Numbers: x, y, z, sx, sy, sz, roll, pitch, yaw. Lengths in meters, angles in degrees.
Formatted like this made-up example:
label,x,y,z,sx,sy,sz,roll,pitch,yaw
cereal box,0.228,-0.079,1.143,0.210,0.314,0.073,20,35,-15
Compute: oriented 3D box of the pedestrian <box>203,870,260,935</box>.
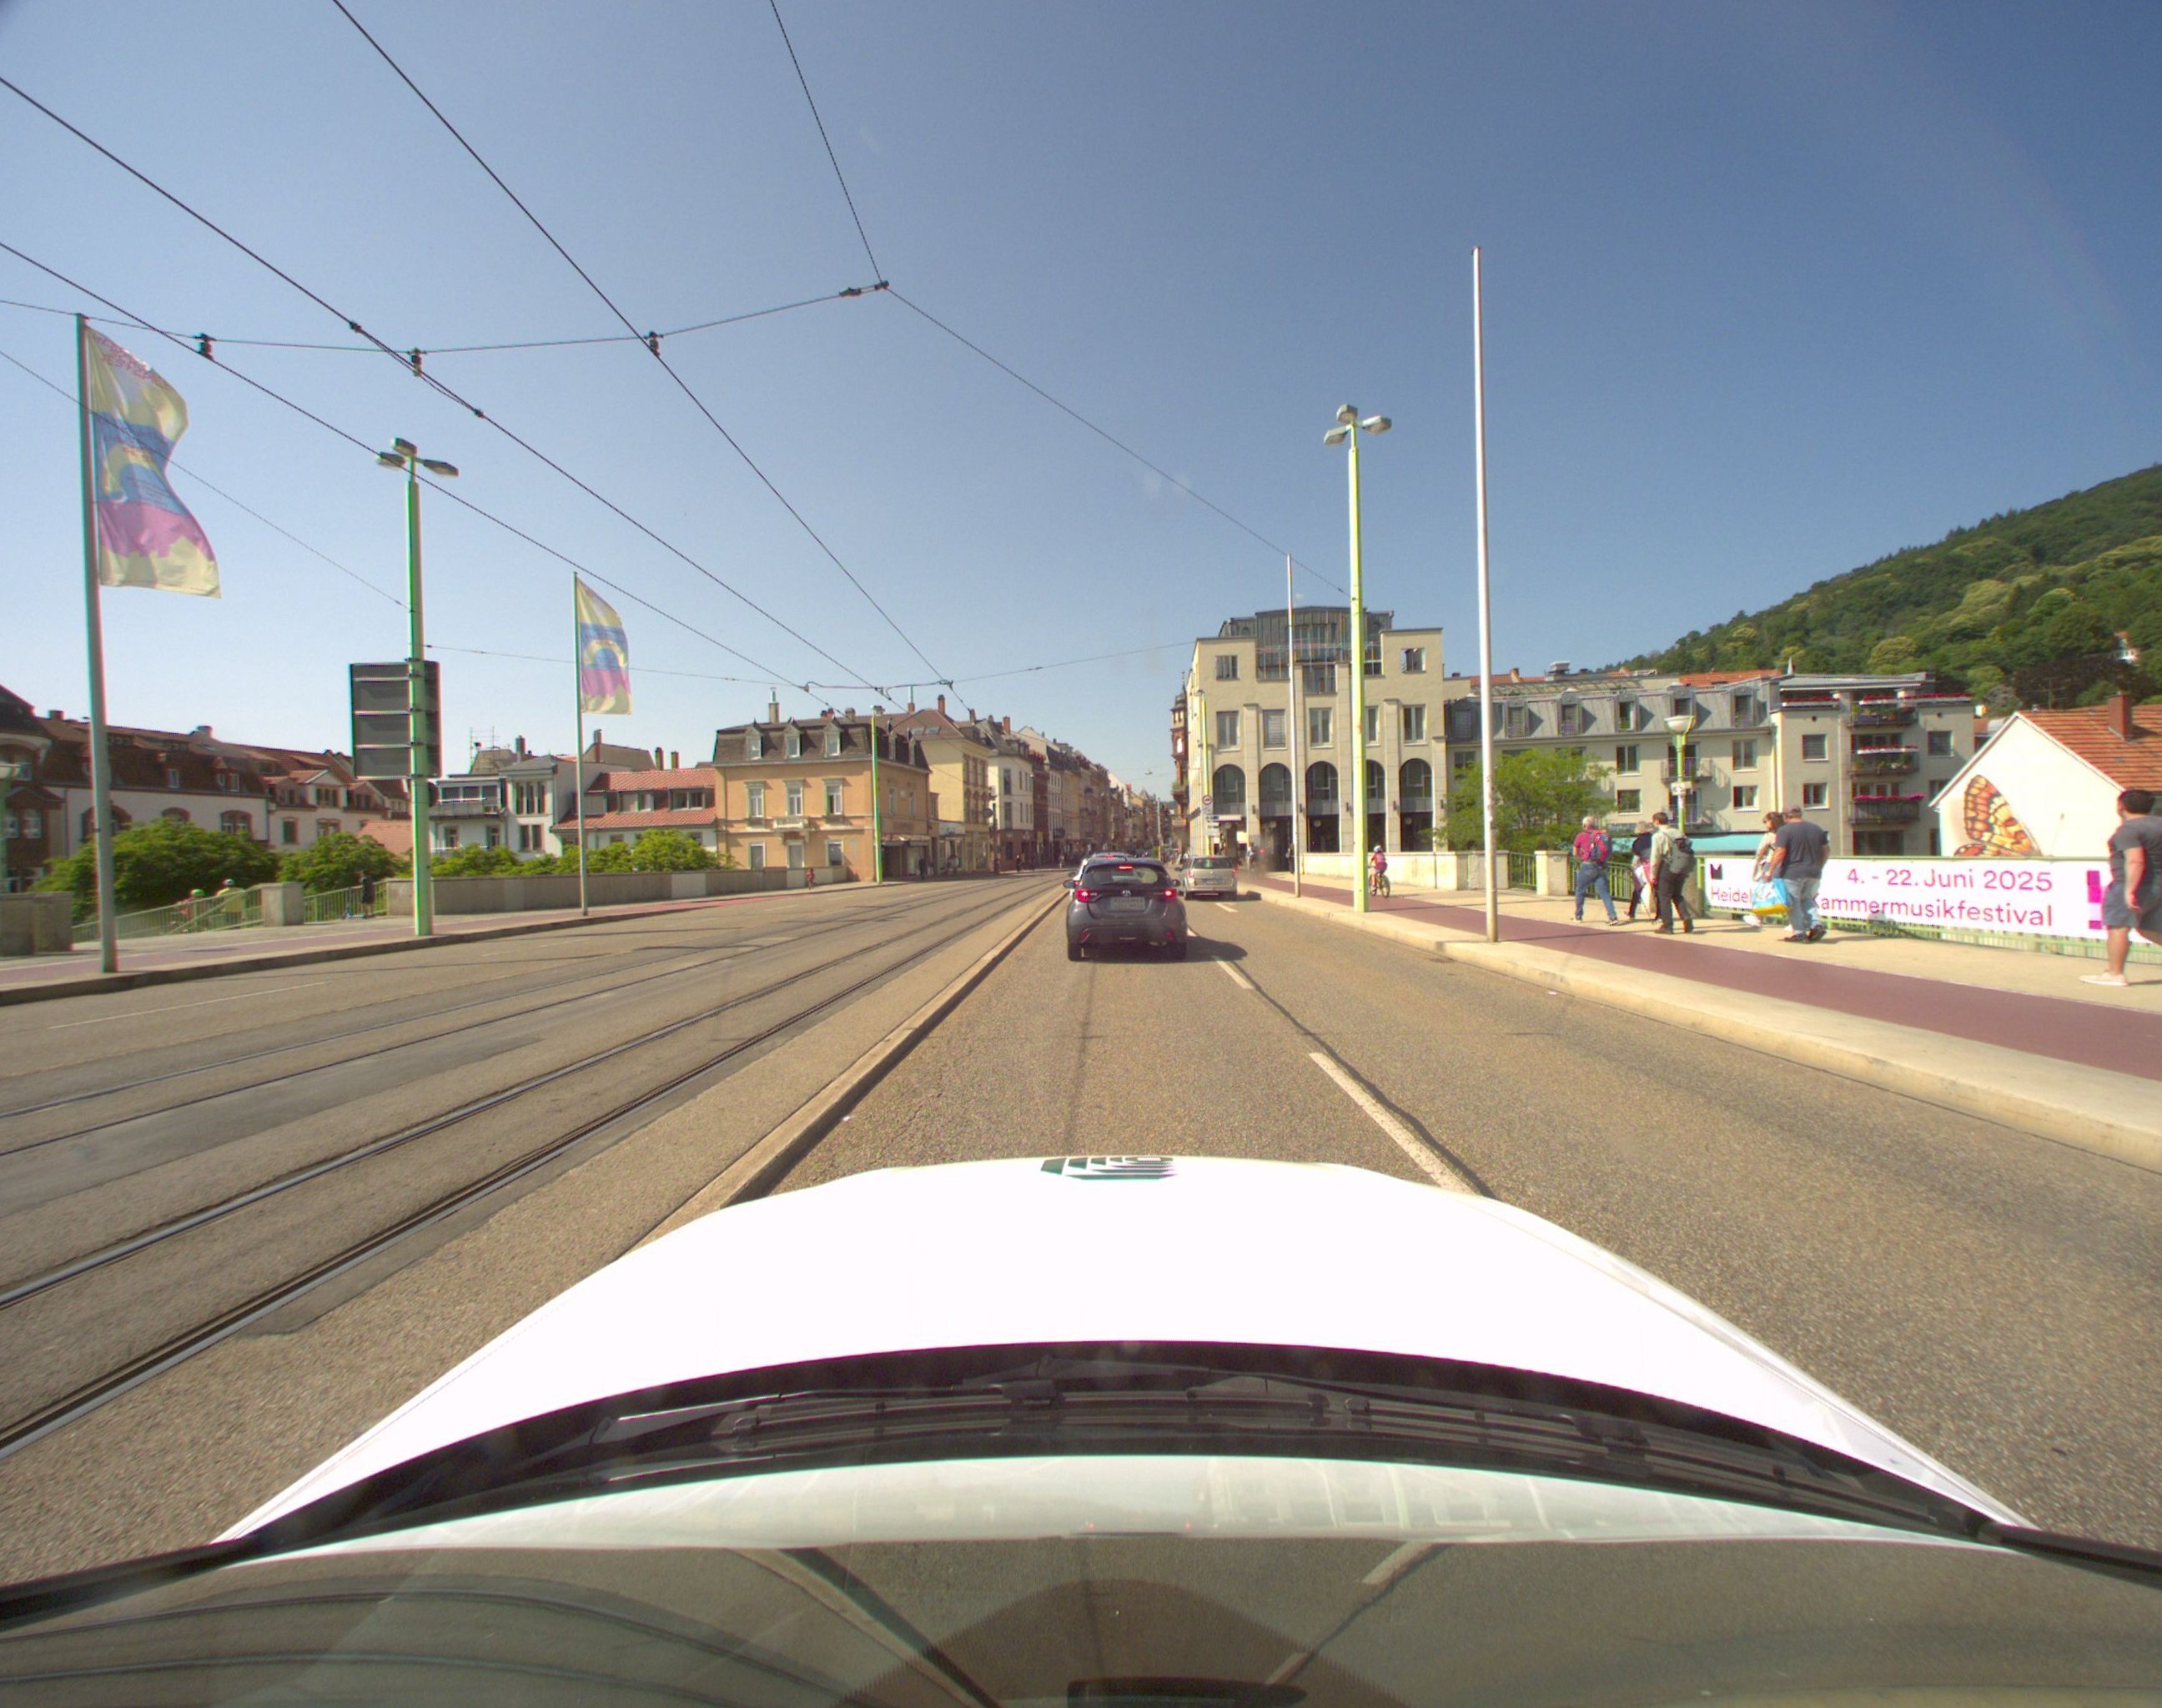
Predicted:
label,x,y,z,sx,sy,sz,roll,pitch,yaw
pedestrian,-24.218,1.382,23.233,0.741,1.781,0.803,-2,0,7

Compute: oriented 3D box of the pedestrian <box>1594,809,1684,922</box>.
label,x,y,z,sx,sy,sz,roll,pitch,yaw
pedestrian,9.341,0.187,13.671,0.736,1.777,1.016,-3,0,1

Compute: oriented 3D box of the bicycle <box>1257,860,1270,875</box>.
label,x,y,z,sx,sy,sz,roll,pitch,yaw
bicycle,9.439,0.706,42.136,0.415,0.765,0.962,-3,0,2

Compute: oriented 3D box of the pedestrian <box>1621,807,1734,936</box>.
label,x,y,z,sx,sy,sz,roll,pitch,yaw
pedestrian,8.477,0.243,11.624,0.752,1.718,1.073,-3,0,1

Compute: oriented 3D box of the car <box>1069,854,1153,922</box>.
label,x,y,z,sx,sy,sz,roll,pitch,yaw
car,0.731,0.764,20.340,1.890,1.530,4.001,0,0,2

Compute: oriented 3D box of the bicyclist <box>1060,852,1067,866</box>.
label,x,y,z,sx,sy,sz,roll,pitch,yaw
bicyclist,-1.954,0.558,92.513,0.623,1.650,0.623,0,1,11

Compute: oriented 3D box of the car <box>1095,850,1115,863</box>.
label,x,y,z,sx,sy,sz,roll,pitch,yaw
car,3.208,0.355,109.289,1.981,1.586,4.665,-2,0,10

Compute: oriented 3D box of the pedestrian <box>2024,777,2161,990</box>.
label,x,y,z,sx,sy,sz,roll,pitch,yaw
pedestrian,9.070,0.220,6.972,0.736,1.718,1.016,-3,0,1

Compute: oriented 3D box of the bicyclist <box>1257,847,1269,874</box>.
label,x,y,z,sx,sy,sz,roll,pitch,yaw
bicyclist,9.418,0.325,42.142,0.420,1.383,0.444,-3,0,2

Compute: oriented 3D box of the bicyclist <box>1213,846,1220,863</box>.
label,x,y,z,sx,sy,sz,roll,pitch,yaw
bicyclist,10.366,0.019,62.324,0.420,1.256,0.444,-3,0,5

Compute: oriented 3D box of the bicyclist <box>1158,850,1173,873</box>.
label,x,y,z,sx,sy,sz,roll,pitch,yaw
bicyclist,9.339,0.816,89.761,1.230,2.529,1.099,3,0,-15

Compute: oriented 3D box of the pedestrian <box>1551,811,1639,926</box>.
label,x,y,z,sx,sy,sz,roll,pitch,yaw
pedestrian,8.510,0.225,13.533,0.736,1.802,1.016,-3,0,1

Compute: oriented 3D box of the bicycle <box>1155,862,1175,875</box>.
label,x,y,z,sx,sy,sz,roll,pitch,yaw
bicycle,9.282,1.581,89.799,1.114,1.420,2.991,2,0,-16

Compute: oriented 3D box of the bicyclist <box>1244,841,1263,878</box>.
label,x,y,z,sx,sy,sz,roll,pitch,yaw
bicyclist,8.165,0.241,38.556,0.699,1.695,0.925,-2,0,2

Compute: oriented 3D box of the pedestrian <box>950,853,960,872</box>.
label,x,y,z,sx,sy,sz,roll,pitch,yaw
pedestrian,-10.956,0.765,70.727,0.646,1.602,0.566,3,2,2

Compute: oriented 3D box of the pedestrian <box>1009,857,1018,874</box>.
label,x,y,z,sx,sy,sz,roll,pitch,yaw
pedestrian,-7.138,1.165,85.997,0.733,1.766,0.788,-1,1,2

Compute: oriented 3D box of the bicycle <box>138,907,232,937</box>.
label,x,y,z,sx,sy,sz,roll,pitch,yaw
bicycle,-24.224,1.834,22.027,1.919,0.716,0.623,0,1,3

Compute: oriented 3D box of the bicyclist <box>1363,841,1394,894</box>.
label,x,y,z,sx,sy,sz,roll,pitch,yaw
bicyclist,7.990,0.357,21.917,0.532,1.383,0.669,-3,0,2

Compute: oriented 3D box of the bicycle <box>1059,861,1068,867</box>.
label,x,y,z,sx,sy,sz,roll,pitch,yaw
bicycle,-1.962,1.124,92.508,0.616,0.716,2.051,0,1,11

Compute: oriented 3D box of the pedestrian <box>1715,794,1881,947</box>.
label,x,y,z,sx,sy,sz,roll,pitch,yaw
pedestrian,9.083,0.199,10.382,0.974,1.777,1.208,-3,0,1

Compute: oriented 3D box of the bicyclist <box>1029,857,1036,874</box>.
label,x,y,z,sx,sy,sz,roll,pitch,yaw
bicyclist,-4.930,1.188,83.186,0.625,1.650,0.622,0,1,2

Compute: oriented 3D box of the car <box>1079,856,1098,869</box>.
label,x,y,z,sx,sy,sz,roll,pitch,yaw
car,0.883,1.006,97.880,1.721,1.460,4.383,-2,0,8

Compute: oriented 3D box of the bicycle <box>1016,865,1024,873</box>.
label,x,y,z,sx,sy,sz,roll,pitch,yaw
bicycle,-6.445,1.553,85.578,0.618,0.716,1.772,-1,1,2

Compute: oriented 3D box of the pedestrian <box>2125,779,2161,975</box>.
label,x,y,z,sx,sy,sz,roll,pitch,yaw
pedestrian,9.856,0.190,6.868,0.736,1.718,1.016,-2,0,1

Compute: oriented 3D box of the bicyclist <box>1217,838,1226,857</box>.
label,x,y,z,sx,sy,sz,roll,pitch,yaw
bicyclist,9.939,-0.464,57.655,0.535,1.316,0.673,-3,0,7

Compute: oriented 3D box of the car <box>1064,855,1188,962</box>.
label,x,y,z,sx,sy,sz,roll,pitch,yaw
car,0.684,0.757,13.110,1.713,1.473,3.659,0,0,2

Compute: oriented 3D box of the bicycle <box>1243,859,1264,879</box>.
label,x,y,z,sx,sy,sz,roll,pitch,yaw
bicycle,8.183,0.712,38.651,0.701,0.882,1.526,-2,0,3

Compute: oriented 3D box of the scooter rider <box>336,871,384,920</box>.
label,x,y,z,sx,sy,sz,roll,pitch,yaw
scooter rider,-20.169,1.149,22.786,0.763,1.315,0.600,3,0,13

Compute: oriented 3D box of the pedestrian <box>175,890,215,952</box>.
label,x,y,z,sx,sy,sz,roll,pitch,yaw
pedestrian,-23.982,1.796,22.055,0.623,1.632,0.413,1,0,3

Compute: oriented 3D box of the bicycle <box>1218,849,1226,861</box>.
label,x,y,z,sx,sy,sz,roll,pitch,yaw
bicycle,9.981,0.067,57.660,0.414,0.765,1.208,-3,0,8

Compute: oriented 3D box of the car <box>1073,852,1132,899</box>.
label,x,y,z,sx,sy,sz,roll,pitch,yaw
car,0.765,0.703,28.413,1.890,1.530,4.001,0,0,2

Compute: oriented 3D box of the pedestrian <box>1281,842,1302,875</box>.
label,x,y,z,sx,sy,sz,roll,pitch,yaw
pedestrian,10.823,0.221,41.861,0.736,1.615,1.016,3,0,1

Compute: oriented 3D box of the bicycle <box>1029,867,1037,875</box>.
label,x,y,z,sx,sy,sz,roll,pitch,yaw
bicycle,-4.938,1.739,83.209,0.618,0.716,1.732,0,1,2

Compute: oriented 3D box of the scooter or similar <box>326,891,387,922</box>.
label,x,y,z,sx,sy,sz,roll,pitch,yaw
scooter or similar,-20.222,1.454,22.759,0.774,0.782,0.964,3,0,13

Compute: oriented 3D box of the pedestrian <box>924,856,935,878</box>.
label,x,y,z,sx,sy,sz,roll,pitch,yaw
pedestrian,-11.499,0.969,61.869,0.646,1.602,0.566,3,2,2

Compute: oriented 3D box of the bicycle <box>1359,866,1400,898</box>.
label,x,y,z,sx,sy,sz,roll,pitch,yaw
bicycle,8.015,0.736,21.921,0.512,0.765,1.661,-3,0,2

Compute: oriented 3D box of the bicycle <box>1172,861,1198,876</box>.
label,x,y,z,sx,sy,sz,roll,pitch,yaw
bicycle,10.834,1.482,84.992,1.119,1.420,2.978,2,0,-31

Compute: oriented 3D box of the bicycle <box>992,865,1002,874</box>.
label,x,y,z,sx,sy,sz,roll,pitch,yaw
bicycle,-7.290,1.366,70.512,0.618,0.716,1.772,0,1,2

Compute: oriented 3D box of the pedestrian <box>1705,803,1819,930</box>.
label,x,y,z,sx,sy,sz,roll,pitch,yaw
pedestrian,9.957,0.174,11.951,0.736,1.746,1.016,-3,0,1

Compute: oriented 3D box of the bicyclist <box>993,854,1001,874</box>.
label,x,y,z,sx,sy,sz,roll,pitch,yaw
bicyclist,-7.290,0.855,70.420,0.625,1.650,0.622,0,1,2

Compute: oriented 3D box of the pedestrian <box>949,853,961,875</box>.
label,x,y,z,sx,sy,sz,roll,pitch,yaw
pedestrian,-10.278,0.824,66.420,0.733,1.766,0.787,3,0,2

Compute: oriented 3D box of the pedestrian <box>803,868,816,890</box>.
label,x,y,z,sx,sy,sz,roll,pitch,yaw
pedestrian,-14.367,1.315,43.100,0.409,1.146,0.546,3,0,8

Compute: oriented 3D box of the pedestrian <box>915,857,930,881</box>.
label,x,y,z,sx,sy,sz,roll,pitch,yaw
pedestrian,-11.127,1.044,57.060,0.757,1.654,0.713,3,0,10

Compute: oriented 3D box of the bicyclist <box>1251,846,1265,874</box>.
label,x,y,z,sx,sy,sz,roll,pitch,yaw
bicyclist,9.487,0.305,43.758,0.487,1.466,0.438,-3,-1,-37

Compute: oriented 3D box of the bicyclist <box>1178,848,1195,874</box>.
label,x,y,z,sx,sy,sz,roll,pitch,yaw
bicyclist,11.000,0.725,84.722,1.236,2.529,1.094,3,0,-31

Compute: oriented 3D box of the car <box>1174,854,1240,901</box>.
label,x,y,z,sx,sy,sz,roll,pitch,yaw
car,4.185,0.743,27.657,1.699,1.466,4.327,0,0,2
